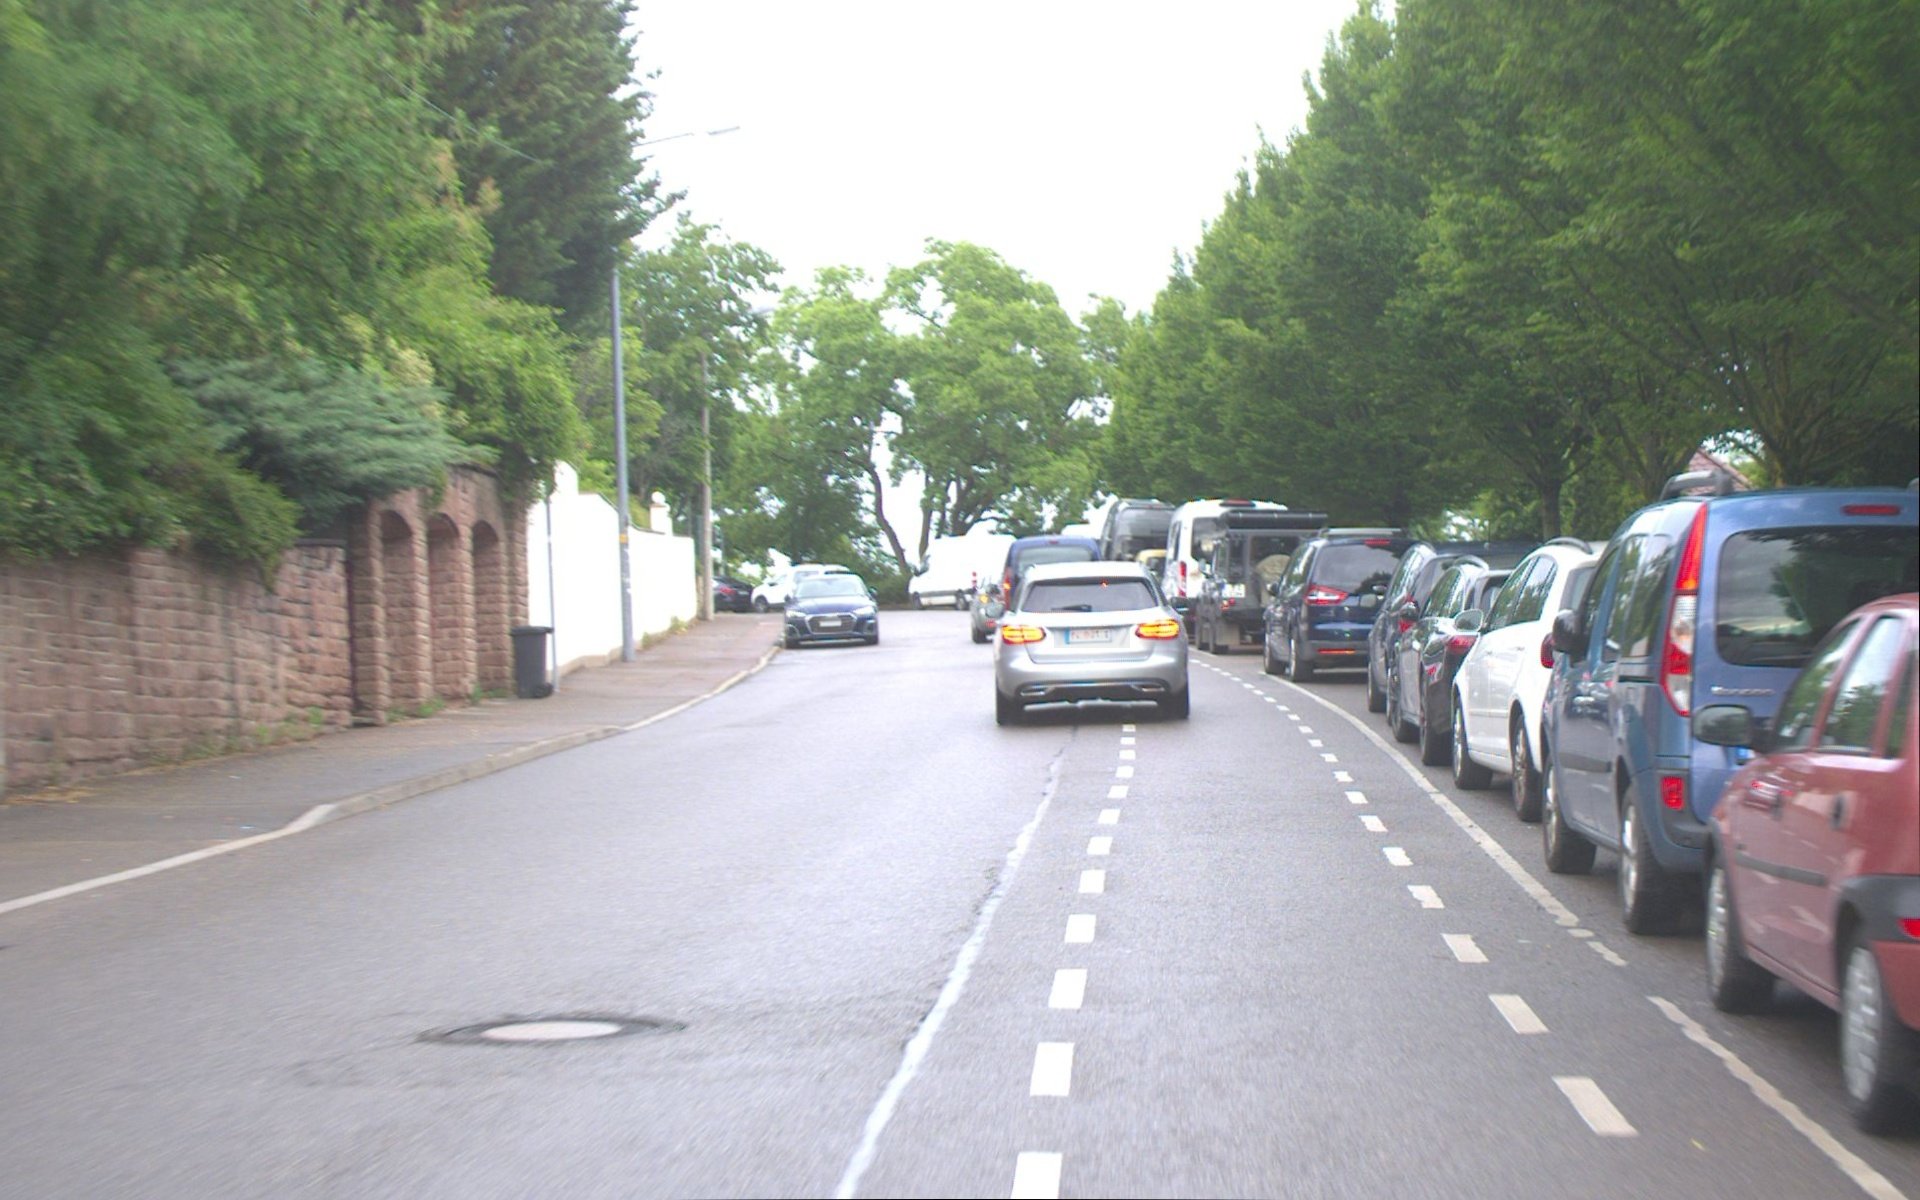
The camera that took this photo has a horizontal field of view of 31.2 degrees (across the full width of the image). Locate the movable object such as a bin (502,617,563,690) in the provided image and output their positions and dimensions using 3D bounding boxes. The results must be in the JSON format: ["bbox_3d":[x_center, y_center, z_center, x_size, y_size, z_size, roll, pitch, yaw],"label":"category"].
[{"bbox_3d":[-5.492,0.687,44.181,0.658,0.916,0.677,-1,0,2],"label":"movable object such as a bin"}]

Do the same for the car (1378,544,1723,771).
[{"bbox_3d":[4.310,0.362,25.806,1.994,1.532,4.849,0,1,3],"label":"car"}]

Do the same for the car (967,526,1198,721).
[{"bbox_3d":[1.151,0.197,32.595,2.025,1.702,4.215,-1,0,2],"label":"car"}]

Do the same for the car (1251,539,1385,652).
[{"bbox_3d":[5.086,-0.078,49.097,1.596,1.553,2.955,-1,0,0],"label":"car"}]

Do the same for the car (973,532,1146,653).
[{"bbox_3d":[1.420,-0.092,50.478,1.993,1.702,4.001,0,0,-6],"label":"car"}]

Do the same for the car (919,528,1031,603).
[{"bbox_3d":[0.491,-1.225,120.268,2.125,2.518,4.497,1,1,-25],"label":"car"}]

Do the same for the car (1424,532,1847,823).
[{"bbox_3d":[4.016,0.401,21.091,1.783,1.603,4.224,0,1,0],"label":"car"}]

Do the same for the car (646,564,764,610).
[{"bbox_3d":[-9.955,-0.505,134.063,4.667,1.692,1.965,2,1,44],"label":"car"}]

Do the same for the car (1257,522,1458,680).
[{"bbox_3d":[4.725,-0.022,41.463,1.780,1.777,4.679,-1,1,-1],"label":"car"}]

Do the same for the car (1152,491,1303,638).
[{"bbox_3d":[4.774,-0.651,62.317,2.173,2.484,6.034,1,1,0],"label":"car"}]

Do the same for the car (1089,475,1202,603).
[{"bbox_3d":[4.359,-1.439,81.497,2.124,2.877,5.770,1,1,-2],"label":"car"}]

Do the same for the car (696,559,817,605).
[{"bbox_3d":[-7.828,-0.693,131.972,4.492,1.692,1.966,2,1,40],"label":"car"}]

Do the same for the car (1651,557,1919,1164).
[{"bbox_3d":[3.172,0.624,10.317,1.649,1.476,4.019,1,1,4],"label":"car"}]

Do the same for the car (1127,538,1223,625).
[{"bbox_3d":[4.688,-0.424,75.373,1.727,1.779,4.276,3,1,-1],"label":"car"}]

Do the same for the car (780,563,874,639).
[{"bbox_3d":[-2.612,-0.013,67.914,1.748,1.353,4.425,-3,1,-2],"label":"car"}]

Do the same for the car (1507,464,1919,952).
[{"bbox_3d":[3.587,0.378,15.269,1.778,1.845,4.424,0,1,3],"label":"car"}]

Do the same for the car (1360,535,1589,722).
[{"bbox_3d":[4.557,0.217,30.905,1.693,1.565,3.922,0,1,3],"label":"car"}]

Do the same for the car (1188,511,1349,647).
[{"bbox_3d":[4.816,-0.336,54.366,1.993,2.045,5.121,0,0,-1],"label":"car"}]

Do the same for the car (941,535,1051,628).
[{"bbox_3d":[0.692,-0.328,65.063,1.993,1.702,4.000,0,0,1],"label":"car"}]

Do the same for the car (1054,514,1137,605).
[{"bbox_3d":[3.801,-1.143,97.269,2.064,2.486,4.760,1,1,-1],"label":"car"}]
